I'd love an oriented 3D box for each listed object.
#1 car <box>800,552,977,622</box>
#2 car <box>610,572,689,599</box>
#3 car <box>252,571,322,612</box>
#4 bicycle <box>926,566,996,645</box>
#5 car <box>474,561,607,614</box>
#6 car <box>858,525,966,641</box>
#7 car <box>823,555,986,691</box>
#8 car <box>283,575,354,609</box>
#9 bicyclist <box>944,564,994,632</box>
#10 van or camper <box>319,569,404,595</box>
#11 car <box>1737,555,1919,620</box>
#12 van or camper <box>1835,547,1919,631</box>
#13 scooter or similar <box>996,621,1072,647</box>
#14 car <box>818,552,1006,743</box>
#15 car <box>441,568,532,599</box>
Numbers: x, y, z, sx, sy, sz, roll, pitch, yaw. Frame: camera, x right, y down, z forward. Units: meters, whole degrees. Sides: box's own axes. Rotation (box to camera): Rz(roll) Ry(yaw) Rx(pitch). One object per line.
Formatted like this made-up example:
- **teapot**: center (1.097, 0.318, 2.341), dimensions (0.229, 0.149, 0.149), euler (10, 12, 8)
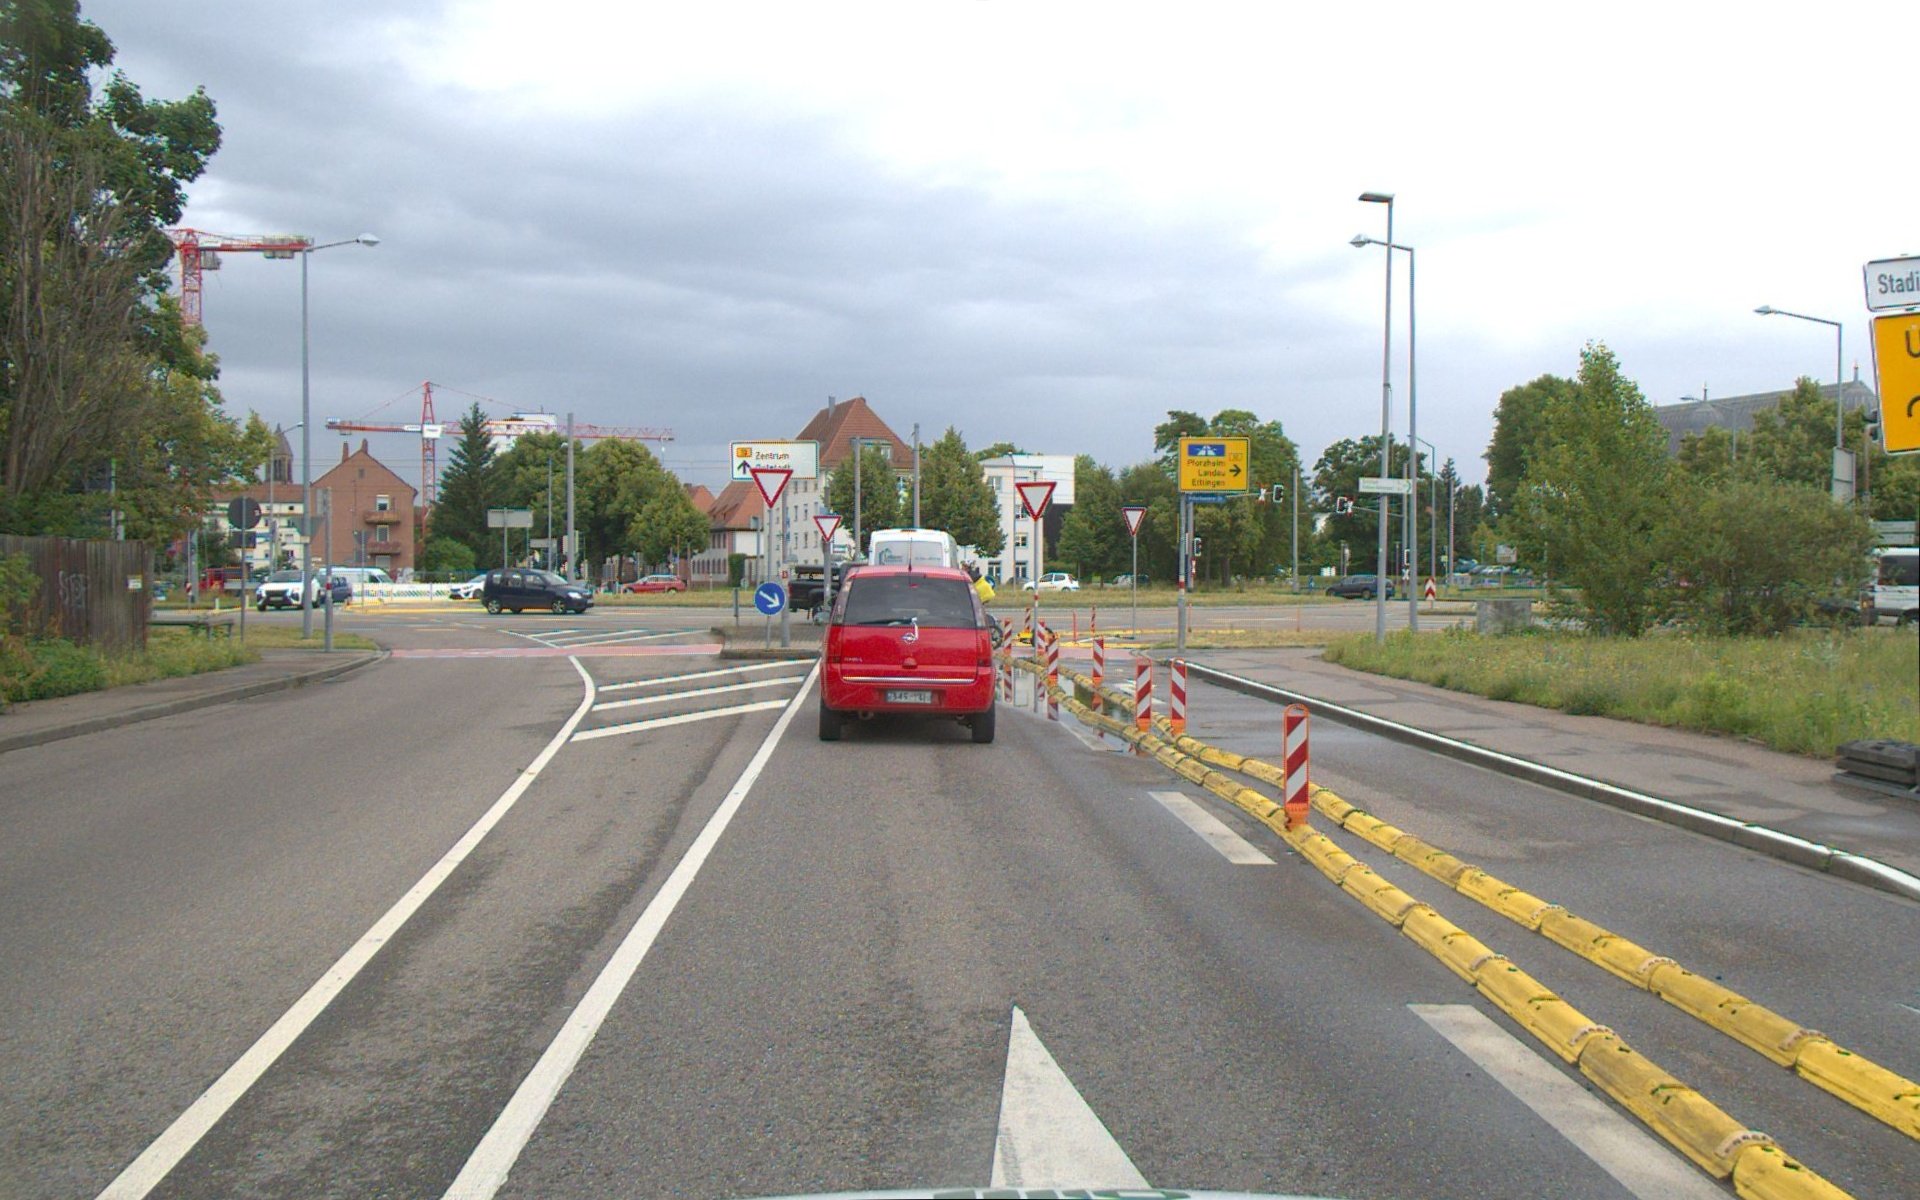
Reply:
- **car**: center (-2.092, -0.398, 49.185), dimensions (4.918, 2.006, 2.226), euler (0, 1, 9)
- **car**: center (-19.703, -0.917, 104.933), dimensions (4.597, 1.663, 1.986), euler (-1, 1, -23)
- **car**: center (-28.800, -0.378, 70.900), dimensions (1.896, 1.713, 4.179), euler (0, 1, -10)
- **bicycle**: center (0.027, 0.113, 34.934), dimensions (1.447, 1.640, 0.606), euler (0, 1, 1)
- **car**: center (-15.046, -0.466, 59.428), dimensions (4.105, 1.845, 2.080), euler (0, 1, 8)
- **car**: center (-1.076, -0.429, 39.952), dimensions (2.149, 2.584, 4.965), euler (1, 1, 3)
- **car**: center (-0.796, 0.259, 23.079), dimensions (2.018, 1.676, 4.605), euler (1, 1, -3)
- **car**: center (-29.930, -0.401, 77.284), dimensions (1.892, 1.515, 3.999), euler (0, 1, -2)
- **bicyclist**: center (0.191, -0.047, 34.941), dimensions (1.040, 1.426, 0.615), euler (0, 1, 1)
- **van or camper**: center (-47.327, -1.418, 130.787), dimensions (6.045, 2.049, 2.002), euler (0, 1, 8)
- **car**: center (24.702, -0.356, 47.179), dimensions (4.267, 1.780, 2.002), euler (0, 1, 14)
- **van or camper**: center (25.769, -0.305, 42.779), dimensions (5.424, 2.152, 1.999), euler (0, 1, 25)
- **scooter or similar**: center (1.561, 0.712, 34.968), dimensions (1.574, 0.513, 0.925), euler (0, 1, 0)
- **car**: center (-0.501, 0.398, 16.520), dimensions (1.640, 1.669, 3.626), euler (1, 1, -3)
- **car**: center (-25.927, -0.910, 90.664), dimensions (1.959, 1.663, 4.660), euler (0, 1, 34)
